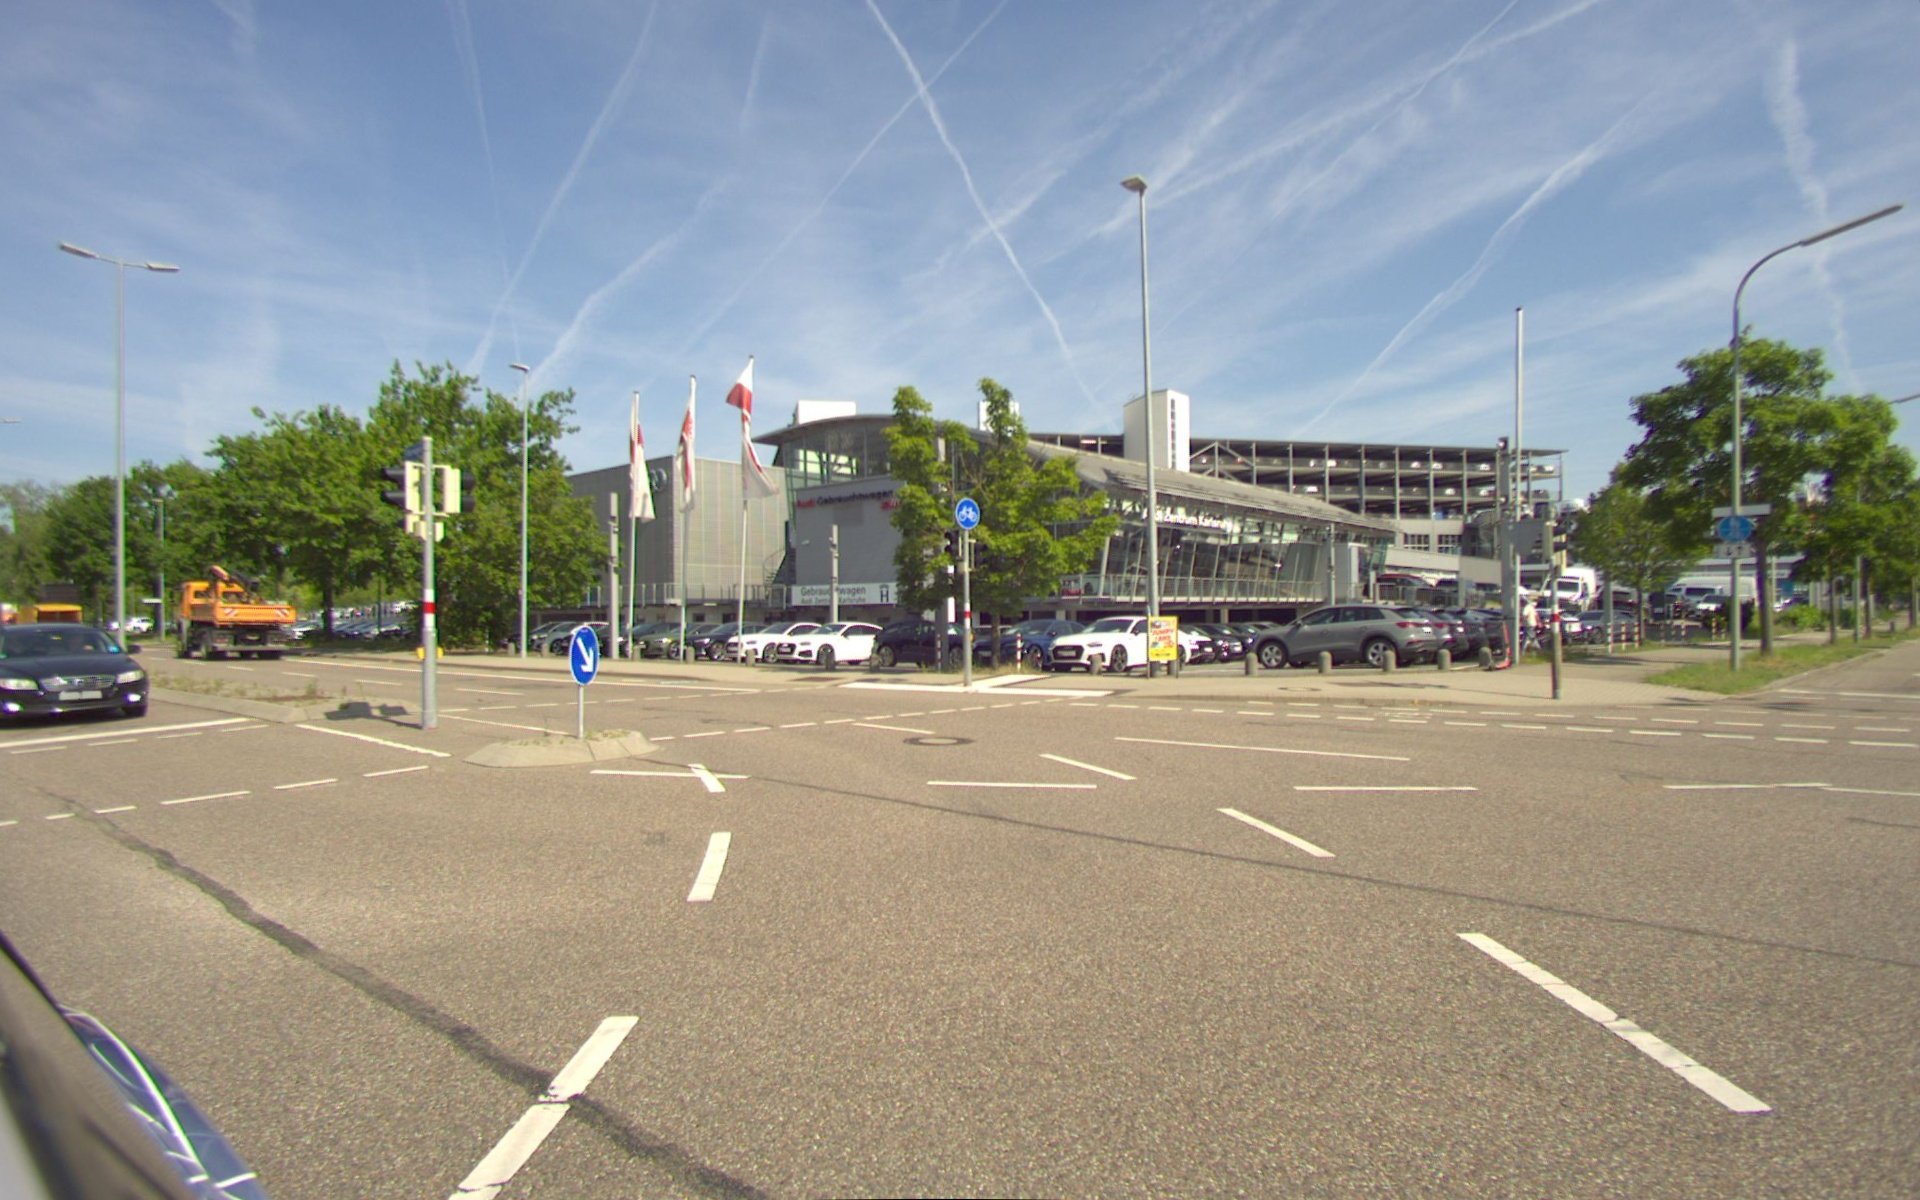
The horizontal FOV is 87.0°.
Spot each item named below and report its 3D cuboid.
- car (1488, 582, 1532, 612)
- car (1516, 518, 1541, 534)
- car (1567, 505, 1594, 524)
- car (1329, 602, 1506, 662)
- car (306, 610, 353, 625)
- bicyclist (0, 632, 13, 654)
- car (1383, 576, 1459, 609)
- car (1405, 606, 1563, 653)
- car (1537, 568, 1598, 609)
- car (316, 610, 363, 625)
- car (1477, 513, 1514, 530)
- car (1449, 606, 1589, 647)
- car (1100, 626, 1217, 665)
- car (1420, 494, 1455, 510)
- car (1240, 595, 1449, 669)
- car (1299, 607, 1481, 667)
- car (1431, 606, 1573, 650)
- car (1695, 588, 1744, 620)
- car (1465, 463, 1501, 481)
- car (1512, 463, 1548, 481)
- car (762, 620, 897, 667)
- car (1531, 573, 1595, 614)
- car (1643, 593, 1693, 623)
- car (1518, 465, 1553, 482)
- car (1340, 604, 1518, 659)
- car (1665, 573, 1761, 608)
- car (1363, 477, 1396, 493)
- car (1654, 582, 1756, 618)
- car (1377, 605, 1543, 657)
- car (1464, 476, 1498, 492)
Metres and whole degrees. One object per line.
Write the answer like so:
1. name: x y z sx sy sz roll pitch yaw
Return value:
1. car: 38.965 -0.182 71.637 1.852 2.029 4.014 -2 -1 41
2. car: 73.027 -9.522 129.941 2.037 1.729 3.944 -1 -1 42
3. car: 72.273 -9.930 117.865 2.037 1.729 3.944 -1 -1 42
4. car: 13.434 0.965 29.854 4.373 1.556 1.769 -5 -3 41
5. car: -70.717 2.010 113.462 1.690 1.511 4.141 -2 -4 42
6. bicyclist: -72.587 3.265 76.979 0.908 1.608 0.572 -1 -2 34
7. car: 29.491 -0.456 64.804 4.067 2.029 1.828 -1 -1 40
8. car: 18.516 1.076 35.901 4.629 1.453 1.769 -5 -3 41
9. car: 36.483 -0.698 60.742 2.088 2.360 5.474 -2 -1 42
10. car: -68.650 1.956 111.969 1.690 1.511 4.141 -2 -4 42
11. car: 71.936 -10.511 135.972 3.995 2.028 1.975 0 2 39
12. car: 22.033 1.057 39.984 4.556 1.453 1.769 -4 -3 41
13. car: 7.520 1.691 38.518 4.062 1.388 1.769 -1 -1 41
14. car: 64.555 -13.192 136.908 3.993 1.729 2.012 -1 -1 37
15. car: 9.733 0.857 25.873 4.594 1.626 1.794 -5 -4 42
16. car: 11.696 1.028 27.668 4.197 1.453 1.769 -5 -3 41
17. car: 20.270 1.076 37.959 4.399 1.453 1.769 -4 -3 41
18. car: 41.757 0.202 55.588 1.998 1.586 3.934 -1 1 39
19. car: 69.450 -16.977 134.319 3.993 1.729 2.012 -1 -1 37
20. car: 76.196 -17.100 135.391 3.993 1.729 2.012 -1 -1 37
21. car: -4.089 1.403 32.101 1.877 1.380 4.030 -1 -4 41
22. car: 30.488 -0.377 51.121 2.087 1.922 4.488 3 3 39
23. car: 39.965 0.431 57.100 1.998 1.586 3.934 -1 0 39
24. car: 78.618 -17.259 138.207 3.993 1.729 2.012 -1 -1 37
25. car: 14.766 1.027 32.029 4.774 1.517 1.769 -5 -4 41
26. car: 47.451 -0.554 63.802 4.747 2.029 1.973 -1 -1 40
27. car: 60.948 -16.710 146.974 3.993 1.729 2.012 -1 -1 37
28. car: 43.997 0.043 59.825 4.747 2.029 1.973 -1 -1 40
29. car: 16.738 1.057 34.040 4.671 1.529 1.760 -4 -3 41
30. car: 73.637 -16.341 142.989 3.993 1.729 2.012 -1 -1 37
